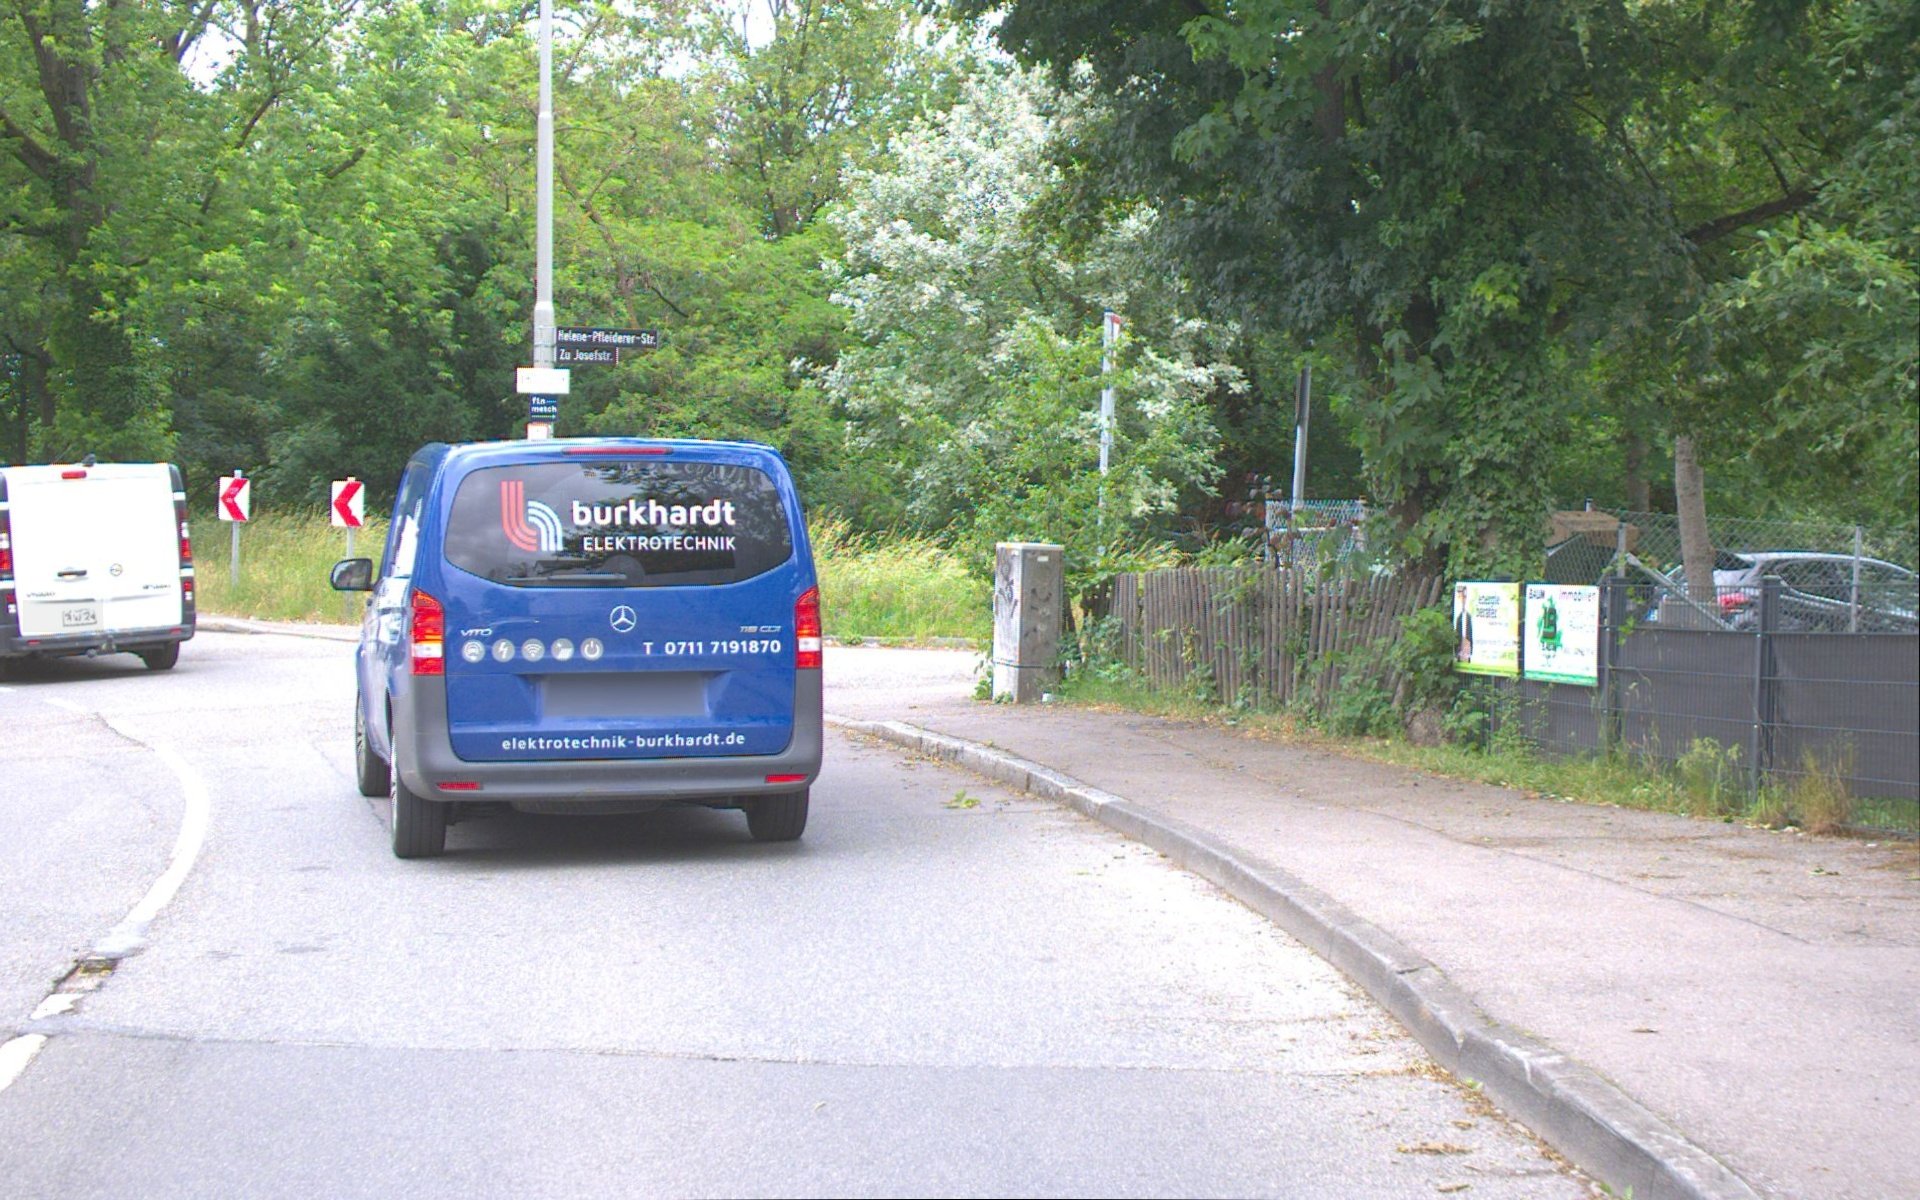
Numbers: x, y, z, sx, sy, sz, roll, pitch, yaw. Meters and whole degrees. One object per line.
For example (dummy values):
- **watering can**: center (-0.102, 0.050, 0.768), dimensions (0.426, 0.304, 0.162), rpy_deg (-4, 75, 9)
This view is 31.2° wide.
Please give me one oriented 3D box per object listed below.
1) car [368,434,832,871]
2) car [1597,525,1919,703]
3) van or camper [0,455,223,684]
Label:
- **car**: center (-1.878, 0.161, 16.698), dimensions (1.913, 1.831, 4.295), rpy_deg (-1, 1, -10)
- **car**: center (7.945, 0.174, 31.412), dimensions (3.658, 1.393, 1.832), rpy_deg (5, 0, -16)
- **van or camper**: center (-8.846, -0.375, 32.681), dimensions (2.019, 1.950, 4.896), rpy_deg (-3, 4, -32)
